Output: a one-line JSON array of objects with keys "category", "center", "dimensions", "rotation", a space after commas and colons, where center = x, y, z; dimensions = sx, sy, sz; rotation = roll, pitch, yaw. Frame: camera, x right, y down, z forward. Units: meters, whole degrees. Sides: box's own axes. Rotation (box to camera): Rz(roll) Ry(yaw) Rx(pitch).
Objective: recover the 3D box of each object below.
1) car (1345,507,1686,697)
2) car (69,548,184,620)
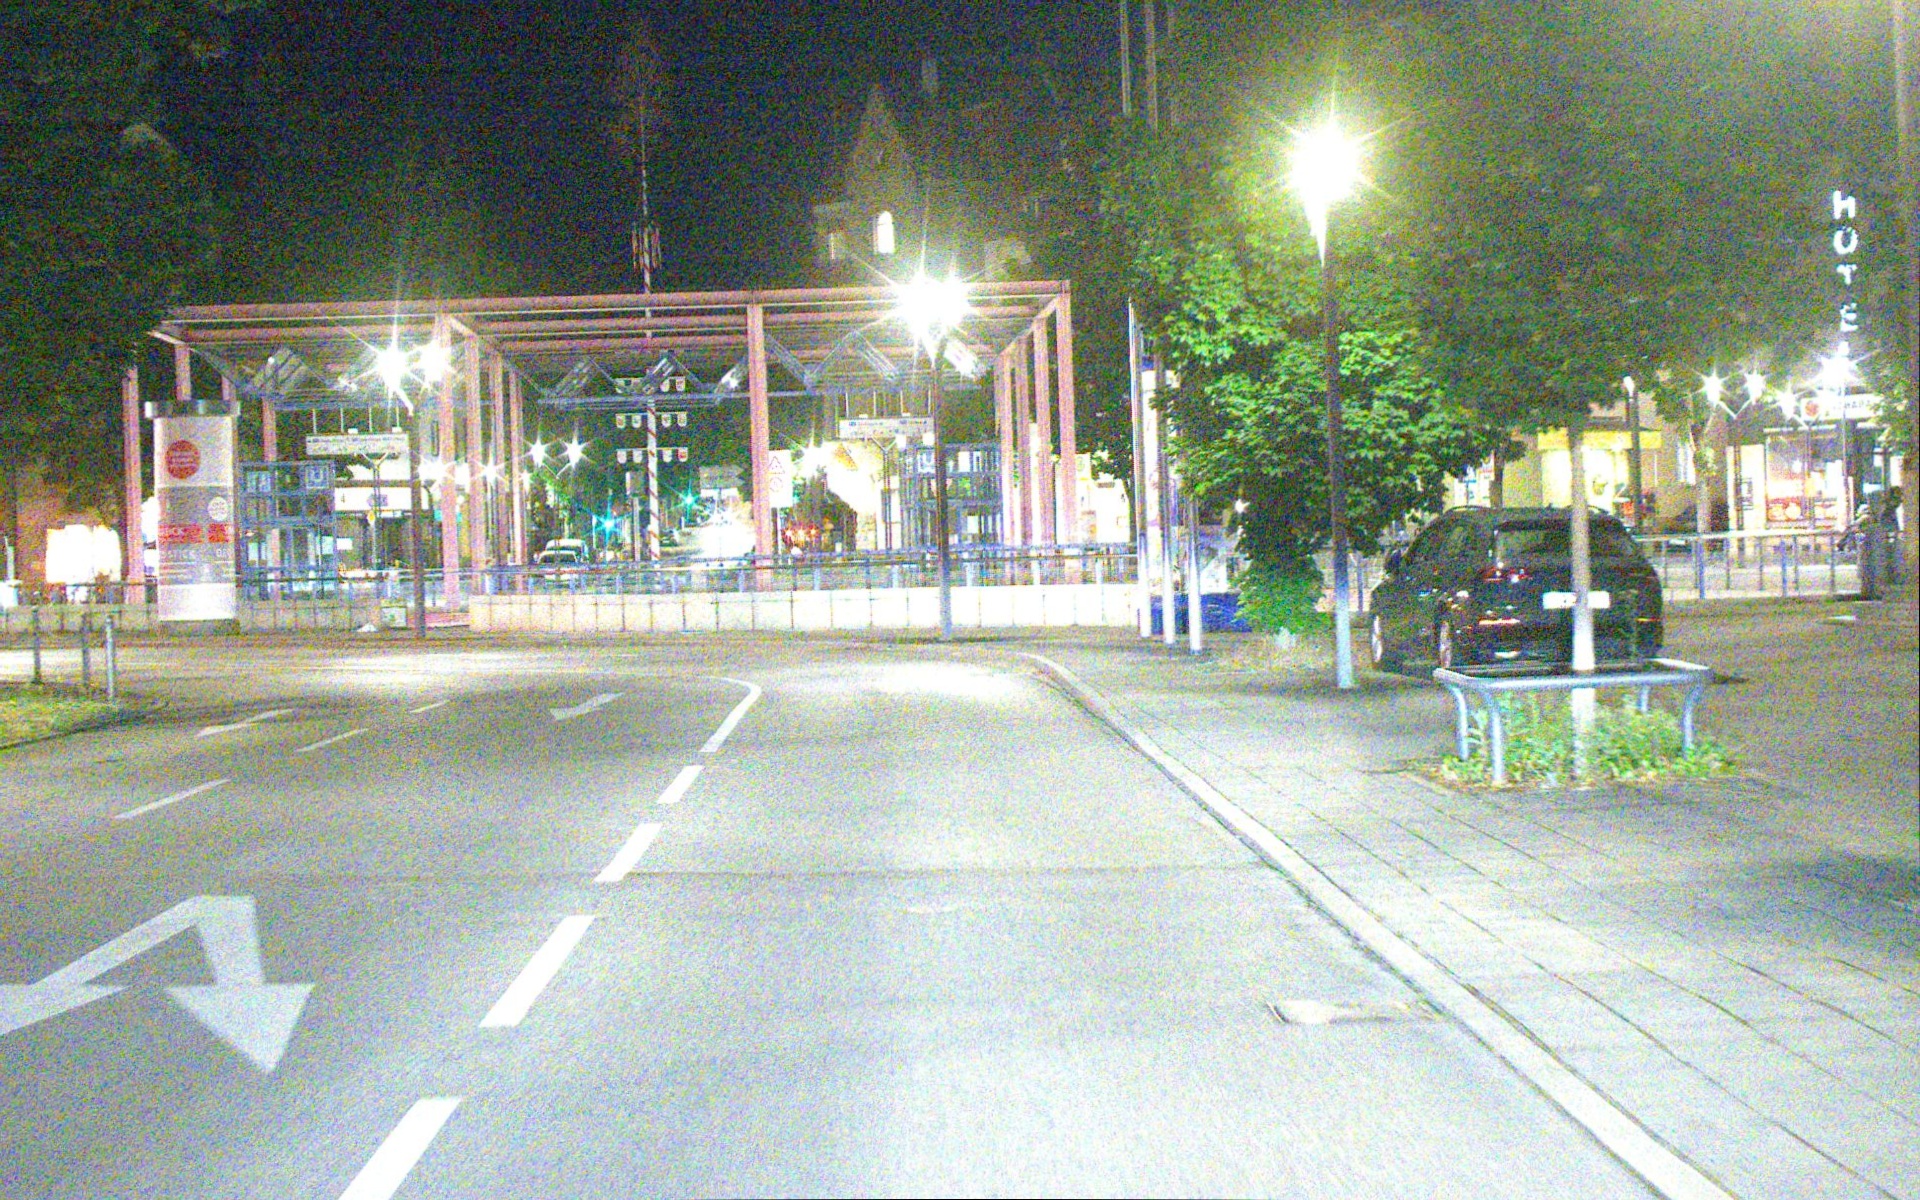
[{"category": "car", "center": [4.663, -0.026, 29.557], "dimensions": [1.733, 1.454, 4.728], "rotation": [-2, 1, -5]}, {"category": "car", "center": [-19.804, -0.405, 81.853], "dimensions": [1.993, 1.568, 4.329], "rotation": [-2, 1, -5]}]
